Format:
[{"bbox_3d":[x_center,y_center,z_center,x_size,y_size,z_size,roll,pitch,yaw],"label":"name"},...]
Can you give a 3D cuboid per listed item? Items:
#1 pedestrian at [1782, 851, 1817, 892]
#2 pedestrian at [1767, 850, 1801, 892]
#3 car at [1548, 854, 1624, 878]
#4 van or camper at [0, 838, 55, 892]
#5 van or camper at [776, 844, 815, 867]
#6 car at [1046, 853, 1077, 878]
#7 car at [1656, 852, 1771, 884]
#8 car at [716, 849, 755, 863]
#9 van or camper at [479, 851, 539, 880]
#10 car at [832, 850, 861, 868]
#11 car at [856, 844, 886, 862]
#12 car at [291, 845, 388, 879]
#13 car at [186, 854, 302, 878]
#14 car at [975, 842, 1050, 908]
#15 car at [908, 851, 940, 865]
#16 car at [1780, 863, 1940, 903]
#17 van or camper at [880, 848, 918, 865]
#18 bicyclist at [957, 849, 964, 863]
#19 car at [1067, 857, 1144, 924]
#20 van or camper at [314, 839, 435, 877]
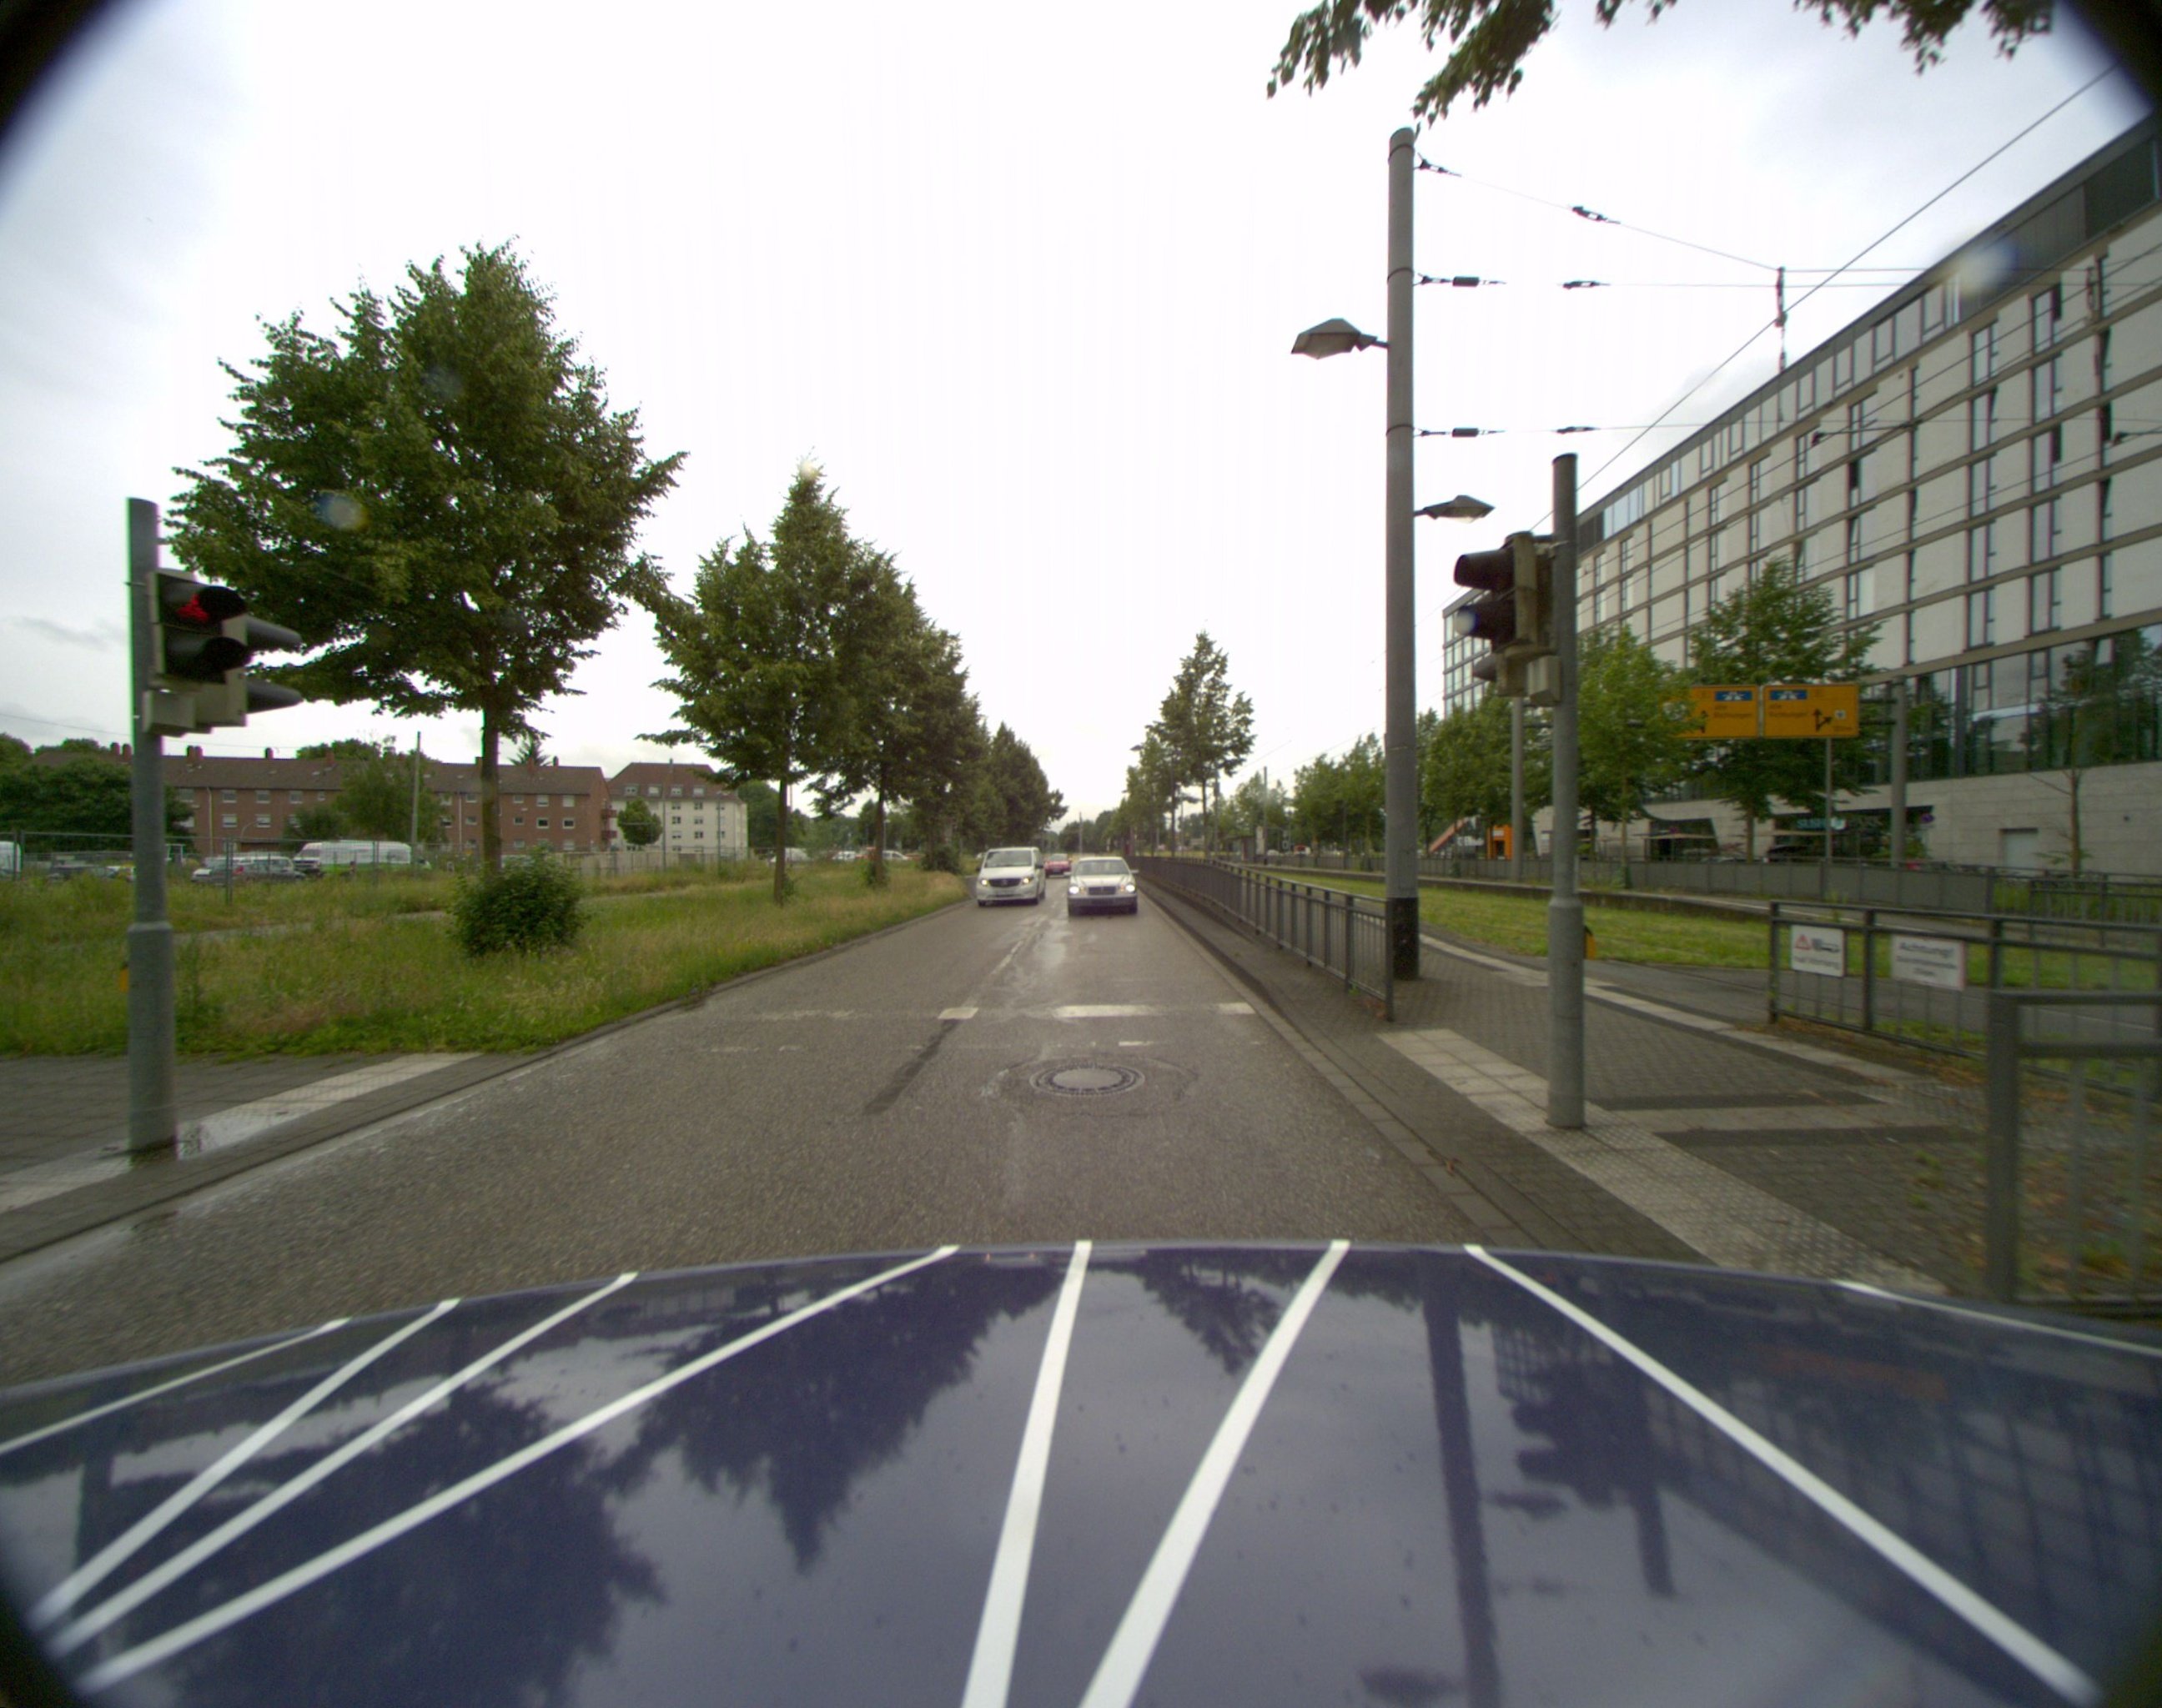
[{"bbox_3d":[30.046,0.727,31.782,0.712,1.682,0.793,-1,1,4],"label":"pedestrian"},{"bbox_3d":[29.259,0.700,31.636,0.712,1.682,0.793,-1,1,4],"label":"pedestrian"},{"bbox_3d":[30.099,0.669,45.442,1.998,1.281,3.859,-1,1,1],"label":"car"},{"bbox_3d":[-51.789,0.530,34.078,2.783,2.521,6.418,-1,0,-1],"label":"van or camper"},{"bbox_3d":[-40.244,0.207,107.214,2.343,3.017,5.515,-2,1,12],"label":"van or camper"},{"bbox_3d":[-1.299,0.762,51.738,1.798,1.603,4.246,-1,1,3],"label":"car"},{"bbox_3d":[28.698,0.595,34.663,1.998,1.281,4.070,-1,1,3],"label":"car"},{"bbox_3d":[-43.767,0.244,96.363,1.995,1.543,4.007,-2,1,28],"label":"car"},{"bbox_3d":[-53.097,1.050,70.677,1.919,2.521,5.258,-1,0,-6],"label":"van or camper"},{"bbox_3d":[-31.224,0.614,101.410,1.997,2.297,4.003,-1,0,10],"label":"car"},{"bbox_3d":[-27.771,-0.112,100.718,1.996,2.297,4.004,-1,0,14],"label":"car"},{"bbox_3d":[-52.288,0.532,53.734,2.278,2.207,4.758,-1,0,-2],"label":"car"},{"bbox_3d":[-52.472,0.706,47.774,2.096,1.344,4.758,-1,0,-2],"label":"car"},{"bbox_3d":[-2.175,0.607,25.664,1.972,1.968,5.091,-1,1,1],"label":"car"},{"bbox_3d":[-20.616,0.568,99.762,3.804,1.696,1.679,-2,1,-1],"label":"car"},{"bbox_3d":[28.368,1.016,27.863,1.998,1.281,3.860,-1,0,3],"label":"car"},{"bbox_3d":[-22.409,0.285,93.808,4.334,2.002,1.860,-1,0,-5],"label":"van or camper"},{"bbox_3d":[-13.019,0.190,81.799,0.537,1.497,0.841,-1,1,4],"label":"bicyclist"},{"bbox_3d":[0.635,0.834,19.575,1.738,1.451,4.607,-1,0,2],"label":"car"},{"bbox_3d":[-46.125,0.249,49.889,2.208,2.294,6.147,-1,0,-1],"label":"van or camper"}]
